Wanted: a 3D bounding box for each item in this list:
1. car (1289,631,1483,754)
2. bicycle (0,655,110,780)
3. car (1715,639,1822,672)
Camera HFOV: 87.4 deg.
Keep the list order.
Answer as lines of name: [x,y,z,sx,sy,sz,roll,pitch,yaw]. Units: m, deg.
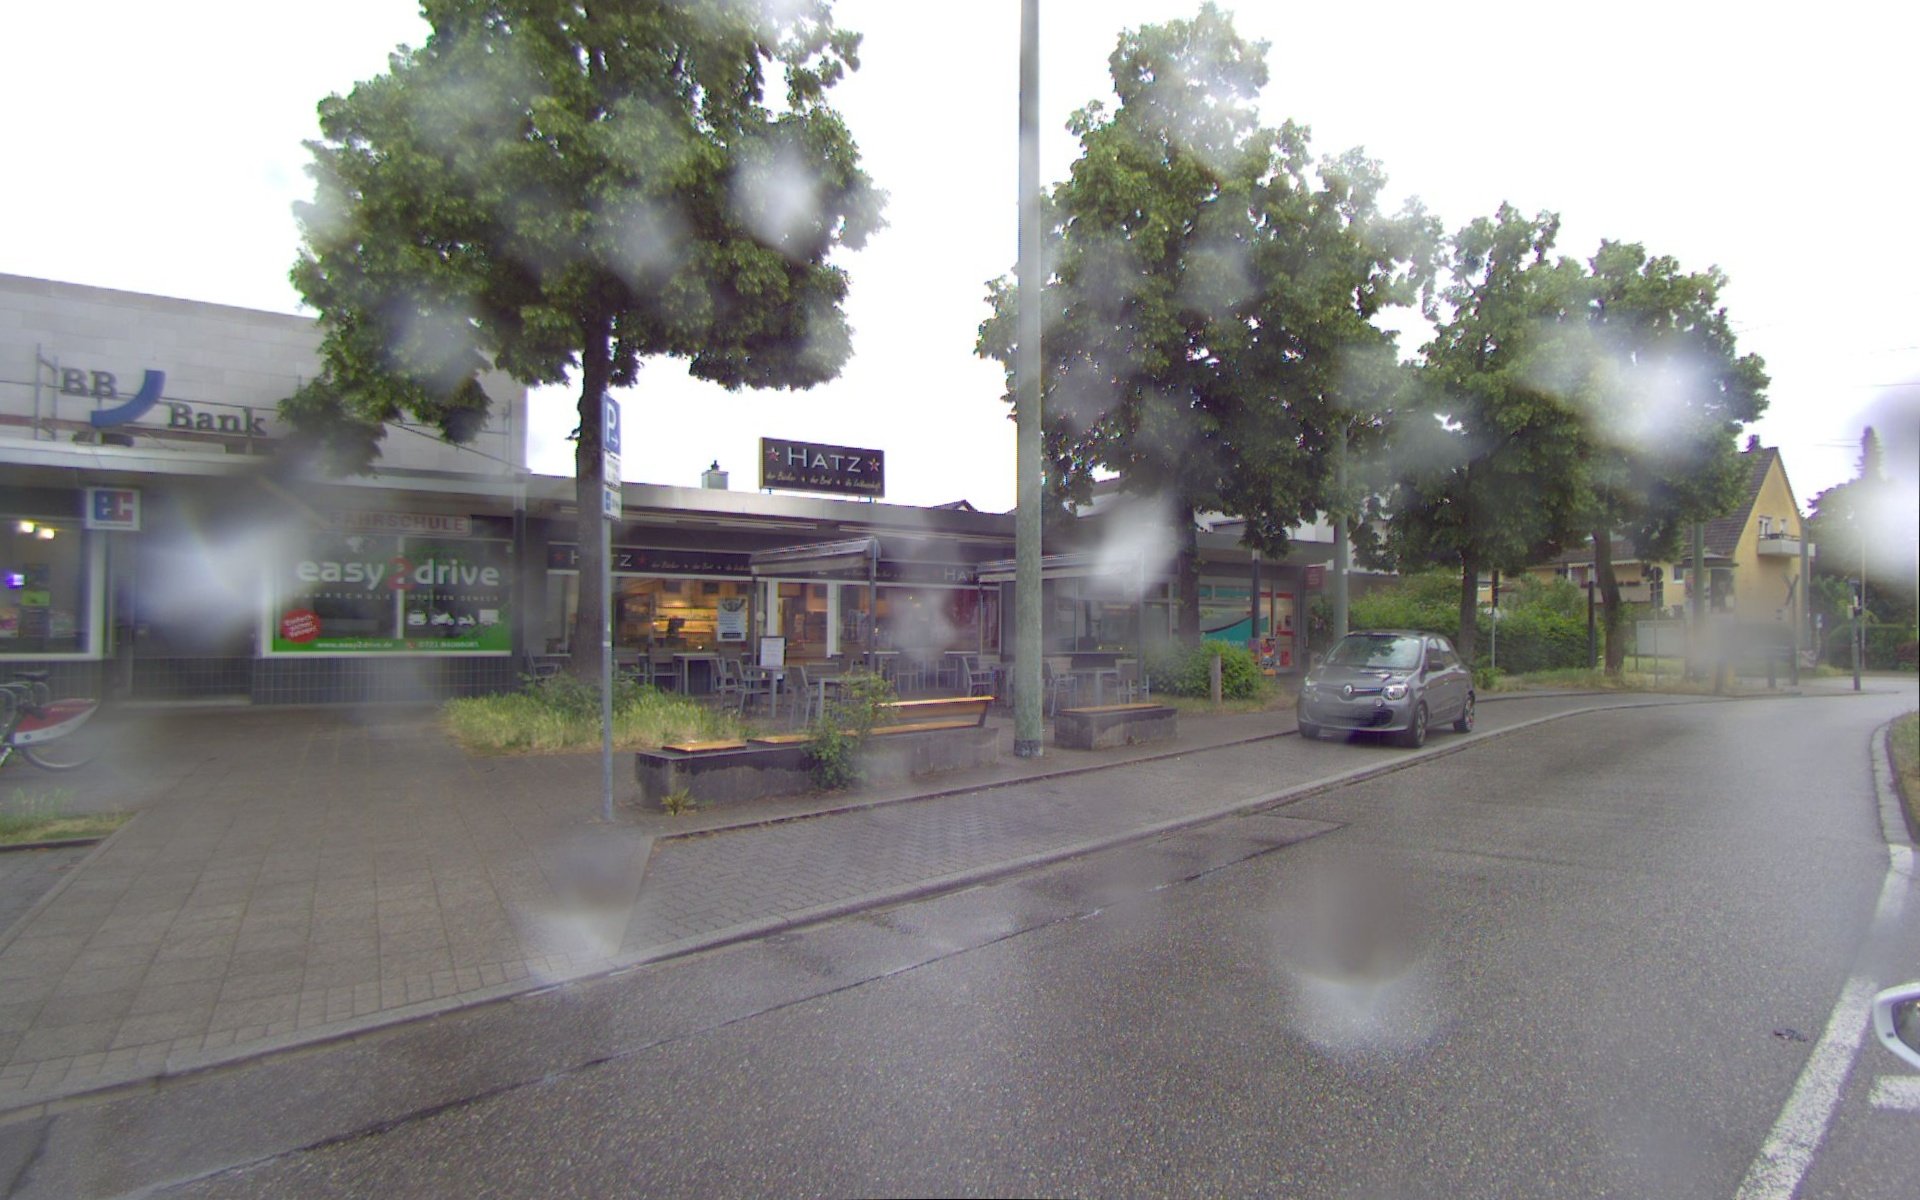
car: [6.377,1.246,14.829,1.598,1.516,3.649,2,0,40]
bicycle: [-9.004,1.084,9.255,0.314,1.122,1.739,2,0,43]
car: [41.959,2.861,52.188,1.815,1.476,3.960,2,0,-35]
